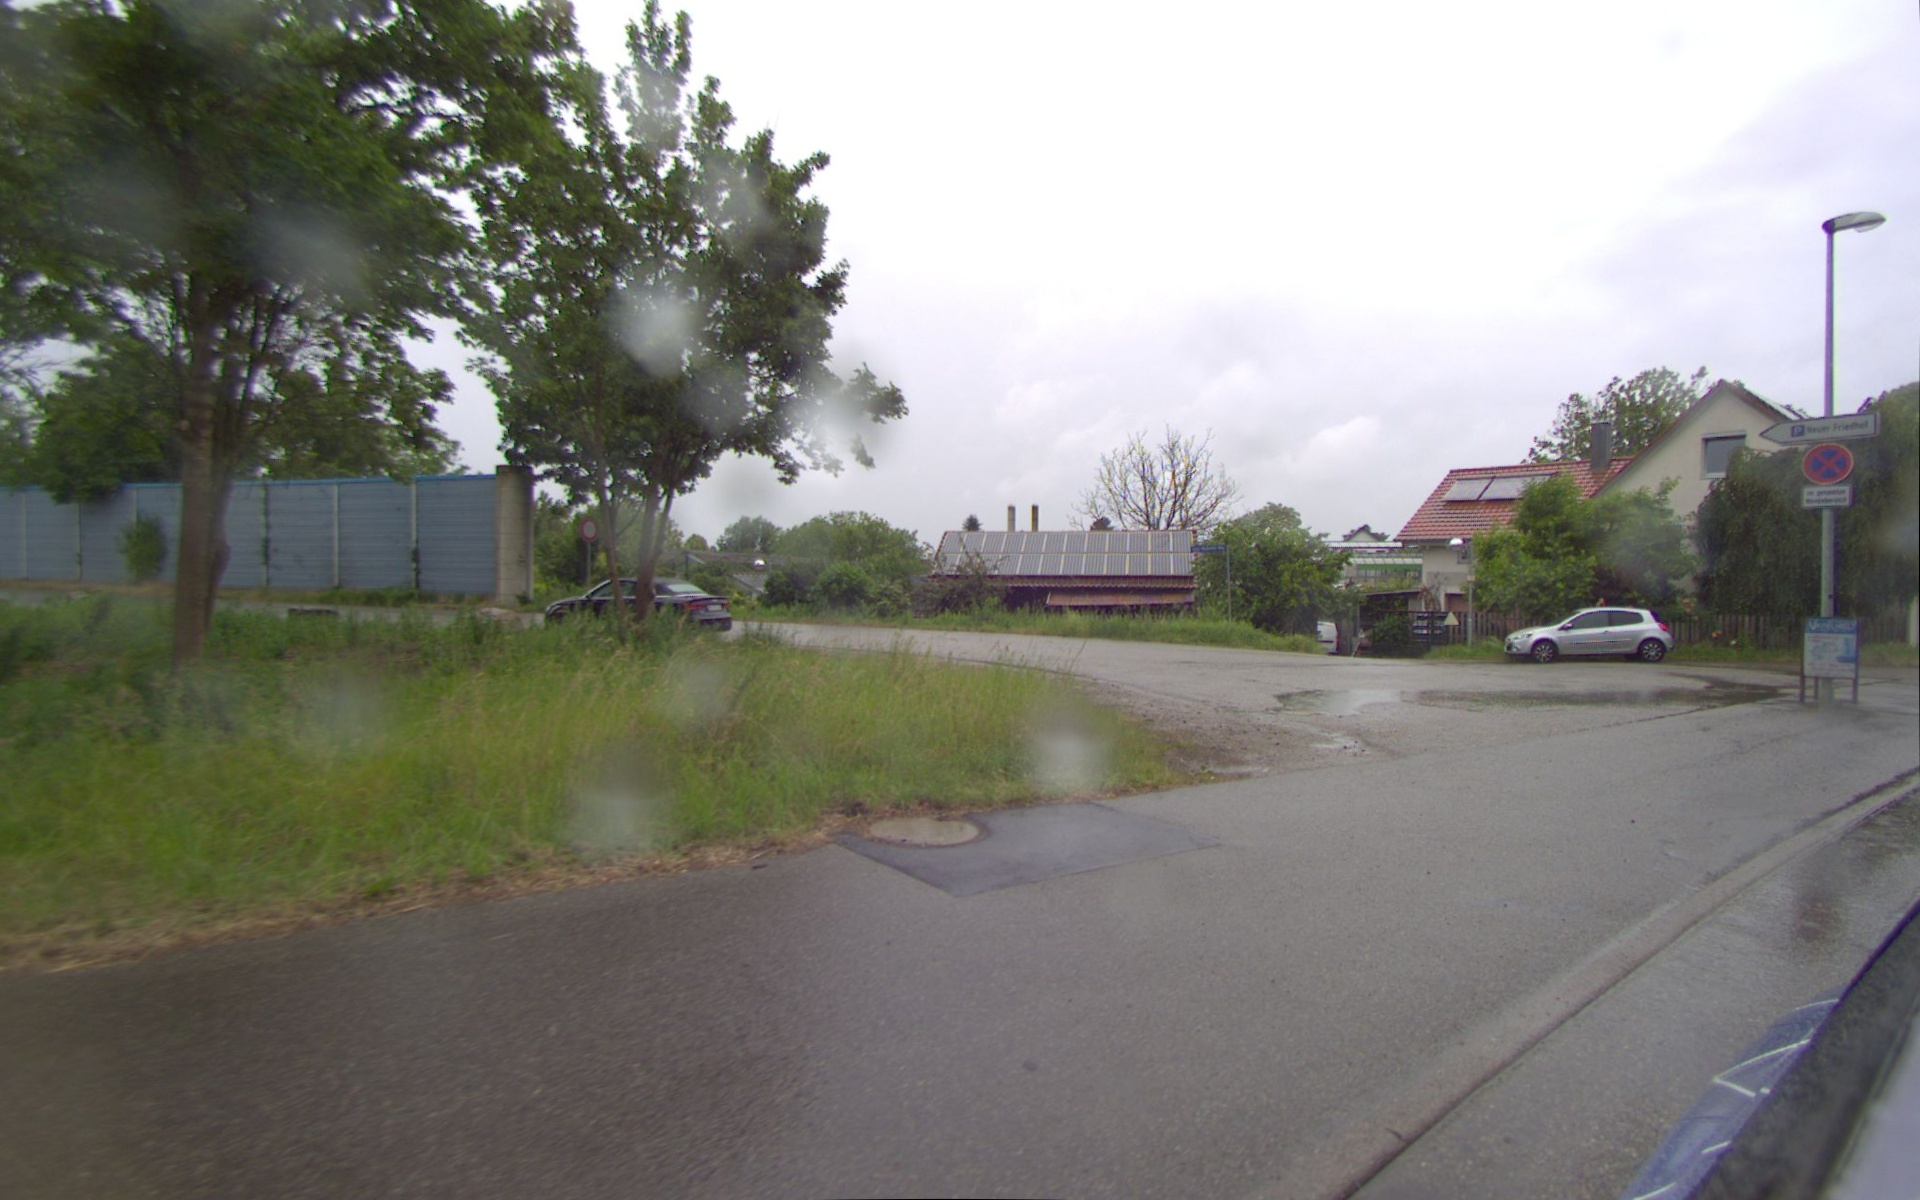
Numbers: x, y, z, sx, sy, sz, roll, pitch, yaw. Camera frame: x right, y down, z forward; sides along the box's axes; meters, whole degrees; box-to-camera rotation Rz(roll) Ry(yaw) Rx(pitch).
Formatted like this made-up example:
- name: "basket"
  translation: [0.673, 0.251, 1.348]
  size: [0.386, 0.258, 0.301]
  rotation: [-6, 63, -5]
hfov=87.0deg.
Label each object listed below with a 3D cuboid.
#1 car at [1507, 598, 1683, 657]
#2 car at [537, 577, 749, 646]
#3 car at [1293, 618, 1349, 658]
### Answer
- name: "car"
  translation: [17.552, 0.747, 28.168]
  size: [3.808, 1.551, 1.708]
  rotation: [-1, 0, 20]
- name: "car"
  translation: [-6.837, 0.256, 21.898]
  size: [4.056, 1.376, 1.894]
  rotation: [-1, 0, 18]
- name: "car"
  translation: [17.034, 1.762, 47.927]
  size: [1.903, 1.705, 3.986]
  rotation: [-1, 0, 11]
